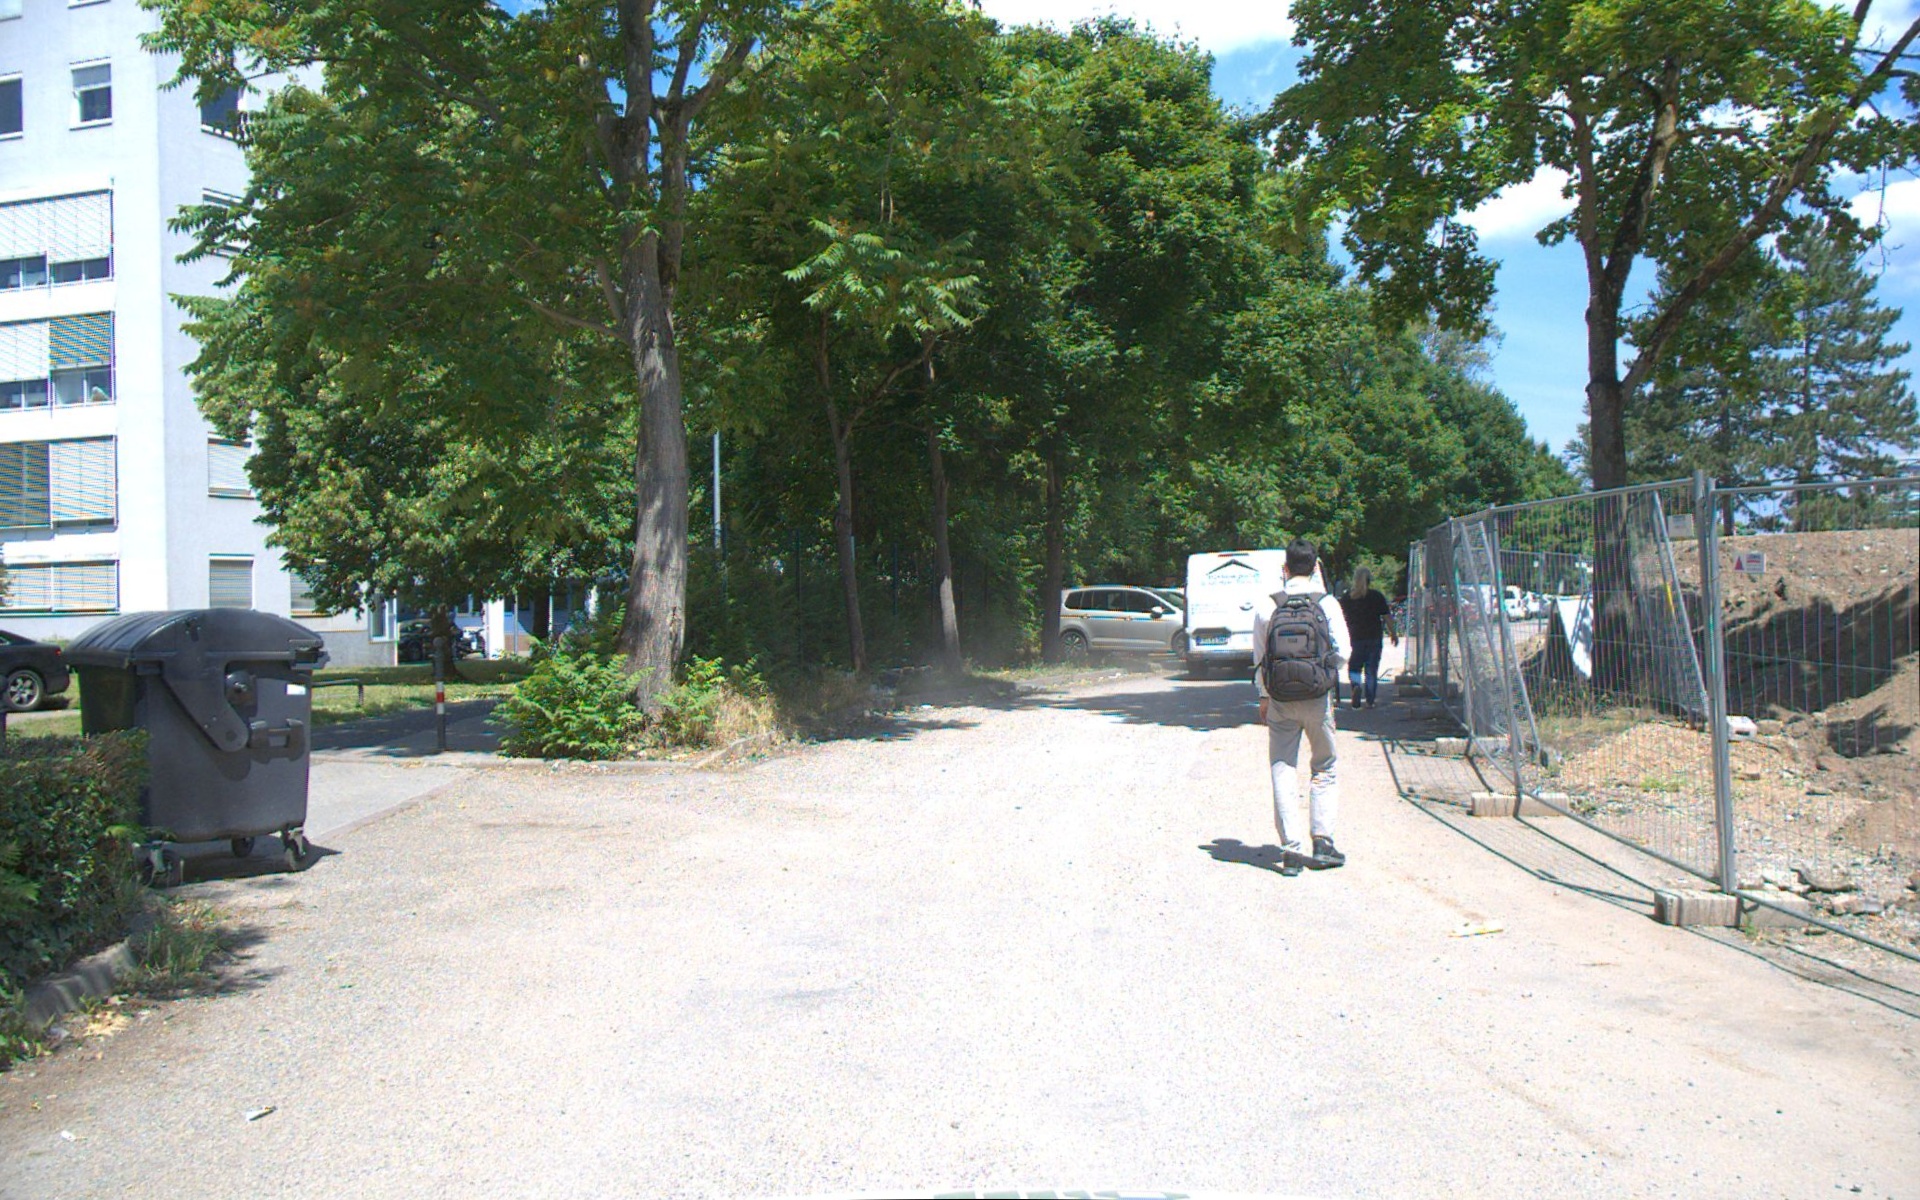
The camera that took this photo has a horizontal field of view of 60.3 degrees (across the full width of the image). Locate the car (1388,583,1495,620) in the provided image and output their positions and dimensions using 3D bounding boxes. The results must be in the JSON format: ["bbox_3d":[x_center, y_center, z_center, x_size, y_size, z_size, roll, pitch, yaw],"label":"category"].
[{"bbox_3d":[21.825,0.079,74.974,4.416,1.574,1.724,-1,1,25],"label":"car"}]

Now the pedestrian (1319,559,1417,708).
[{"bbox_3d":[4.746,0.380,19.335,1.013,1.679,1.050,-1,1,10],"label":"pedestrian"}]

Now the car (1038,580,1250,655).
[{"bbox_3d":[4.201,0.438,37.789,4.417,1.637,1.998,-1,-2,26],"label":"car"}]

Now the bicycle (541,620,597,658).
[{"bbox_3d":[-11.839,1.169,50.097,0.587,1.103,1.939,-1,0,23],"label":"bicycle"}]

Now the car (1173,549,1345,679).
[{"bbox_3d":[5.098,0.205,27.677,1.932,1.981,4.581,-1,0,22],"label":"car"}]

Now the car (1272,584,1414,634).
[{"bbox_3d":[13.124,0.312,56.702,4.417,1.625,1.935,-1,0,26],"label":"car"}]

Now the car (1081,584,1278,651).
[{"bbox_3d":[5.304,0.429,40.070,4.416,1.558,1.724,-1,0,25],"label":"car"}]

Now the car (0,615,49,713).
[{"bbox_3d":[-15.137,0.940,22.511,1.791,1.376,4.623,-1,0,25],"label":"car"}]

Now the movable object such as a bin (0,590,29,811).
[{"bbox_3d":[-7.298,0.701,11.159,1.294,1.505,1.208,-1,0,23],"label":"movable object such as a bin"}]

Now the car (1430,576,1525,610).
[{"bbox_3d":[26.170,-0.341,83.631,4.416,1.625,1.724,-1,0,25],"label":"car"}]

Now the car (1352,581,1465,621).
[{"bbox_3d":[19.104,0.042,70.534,4.416,1.625,1.724,-1,0,25],"label":"car"}]

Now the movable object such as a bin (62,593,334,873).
[{"bbox_3d":[-4.297,0.688,9.315,1.106,1.418,1.143,-1,0,-41],"label":"movable object such as a bin"}]

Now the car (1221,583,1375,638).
[{"bbox_3d":[10.520,0.329,51.530,4.416,1.625,1.724,-1,1,25],"label":"car"}]

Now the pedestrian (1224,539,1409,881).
[{"bbox_3d":[1.926,0.563,9.077,0.855,1.759,1.081,-1,1,6],"label":"pedestrian"}]
